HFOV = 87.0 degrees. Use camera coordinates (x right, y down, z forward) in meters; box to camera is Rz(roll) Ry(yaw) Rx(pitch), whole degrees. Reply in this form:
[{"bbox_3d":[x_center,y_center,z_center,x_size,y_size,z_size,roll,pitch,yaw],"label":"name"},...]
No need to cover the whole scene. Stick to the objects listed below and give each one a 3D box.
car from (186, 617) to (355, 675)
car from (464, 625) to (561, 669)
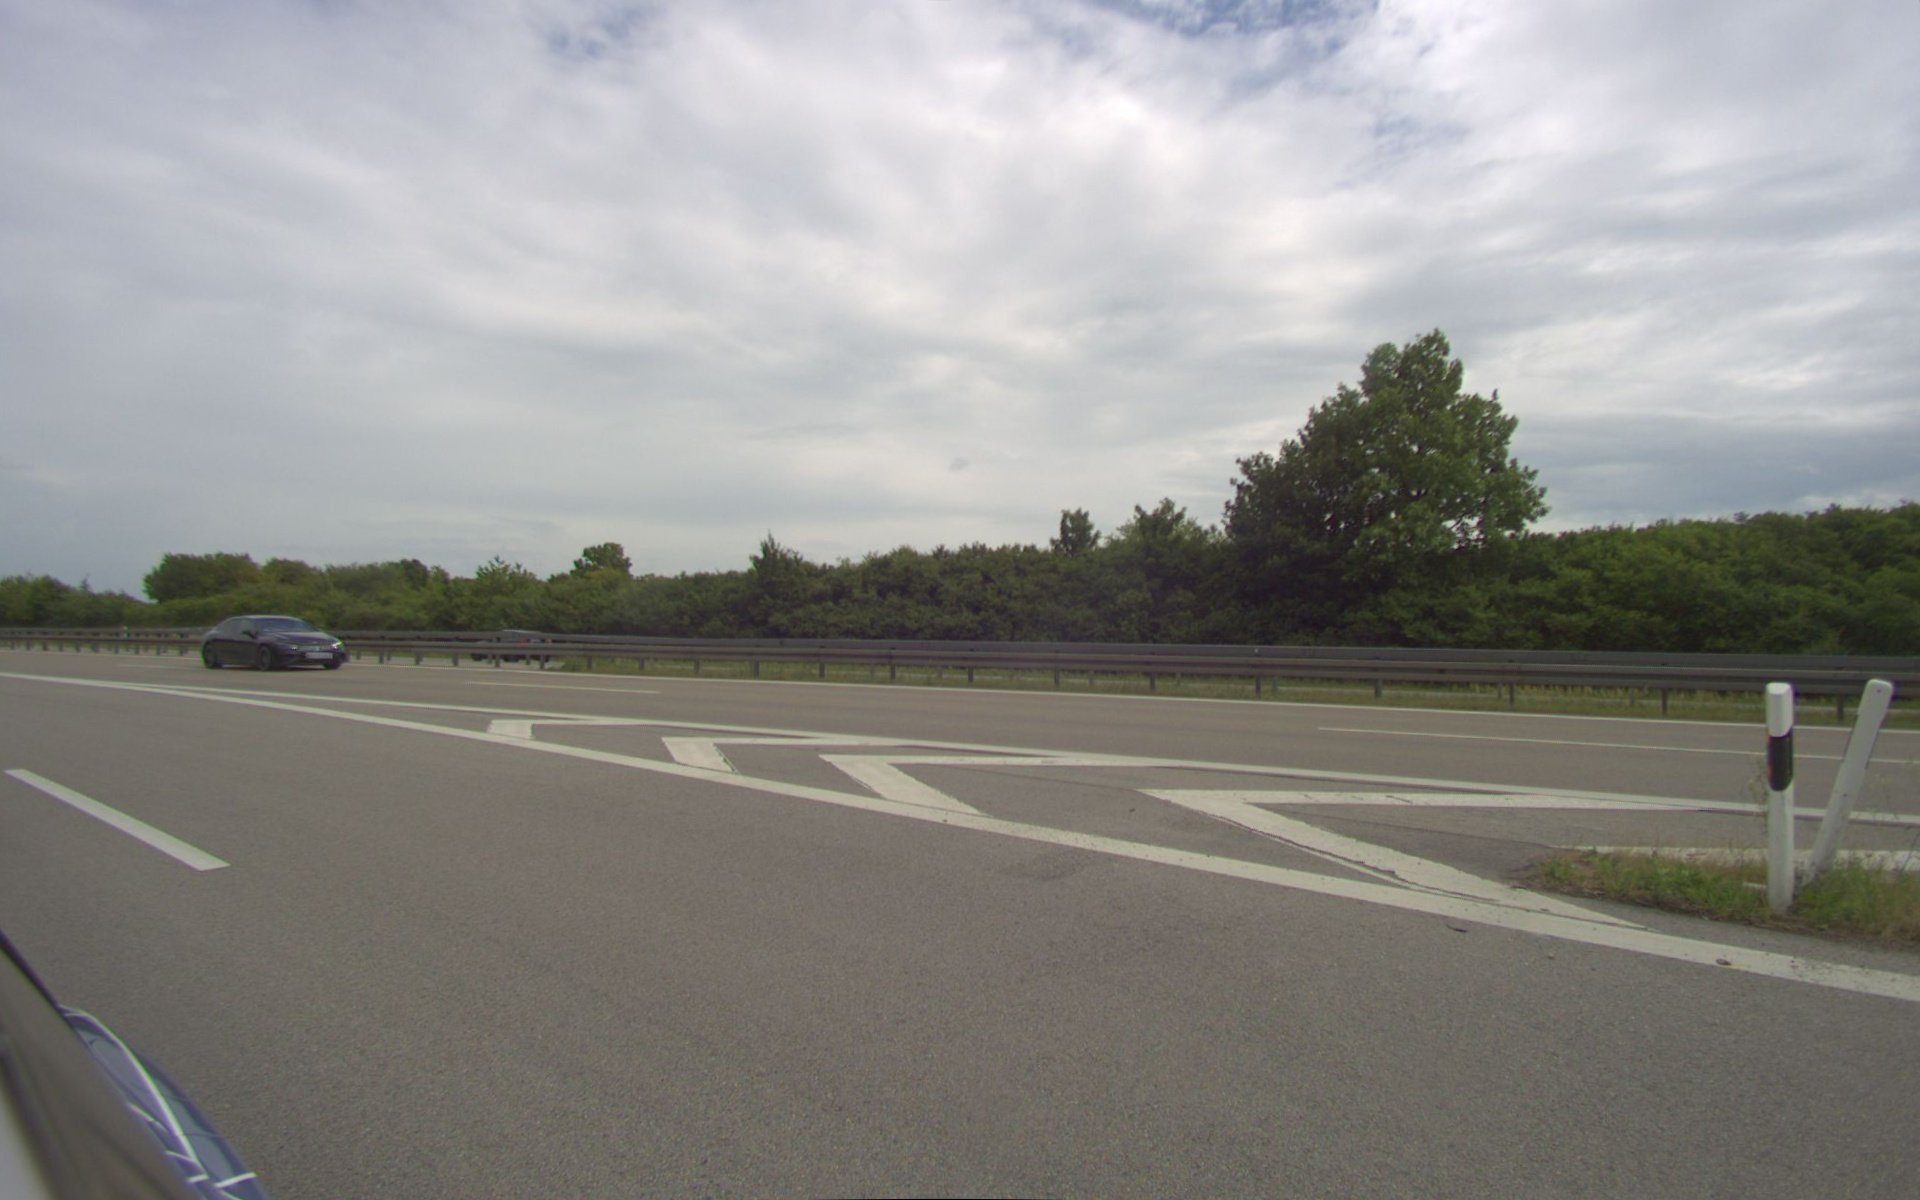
[{"bbox_3d":[-19.347,1.246,28.364,4.758,1.521,1.980,-1,-2,29],"label":"car"},{"bbox_3d":[-19.656,2.026,44.399,3.986,1.816,1.979,-1,-2,31],"label":"car"}]
